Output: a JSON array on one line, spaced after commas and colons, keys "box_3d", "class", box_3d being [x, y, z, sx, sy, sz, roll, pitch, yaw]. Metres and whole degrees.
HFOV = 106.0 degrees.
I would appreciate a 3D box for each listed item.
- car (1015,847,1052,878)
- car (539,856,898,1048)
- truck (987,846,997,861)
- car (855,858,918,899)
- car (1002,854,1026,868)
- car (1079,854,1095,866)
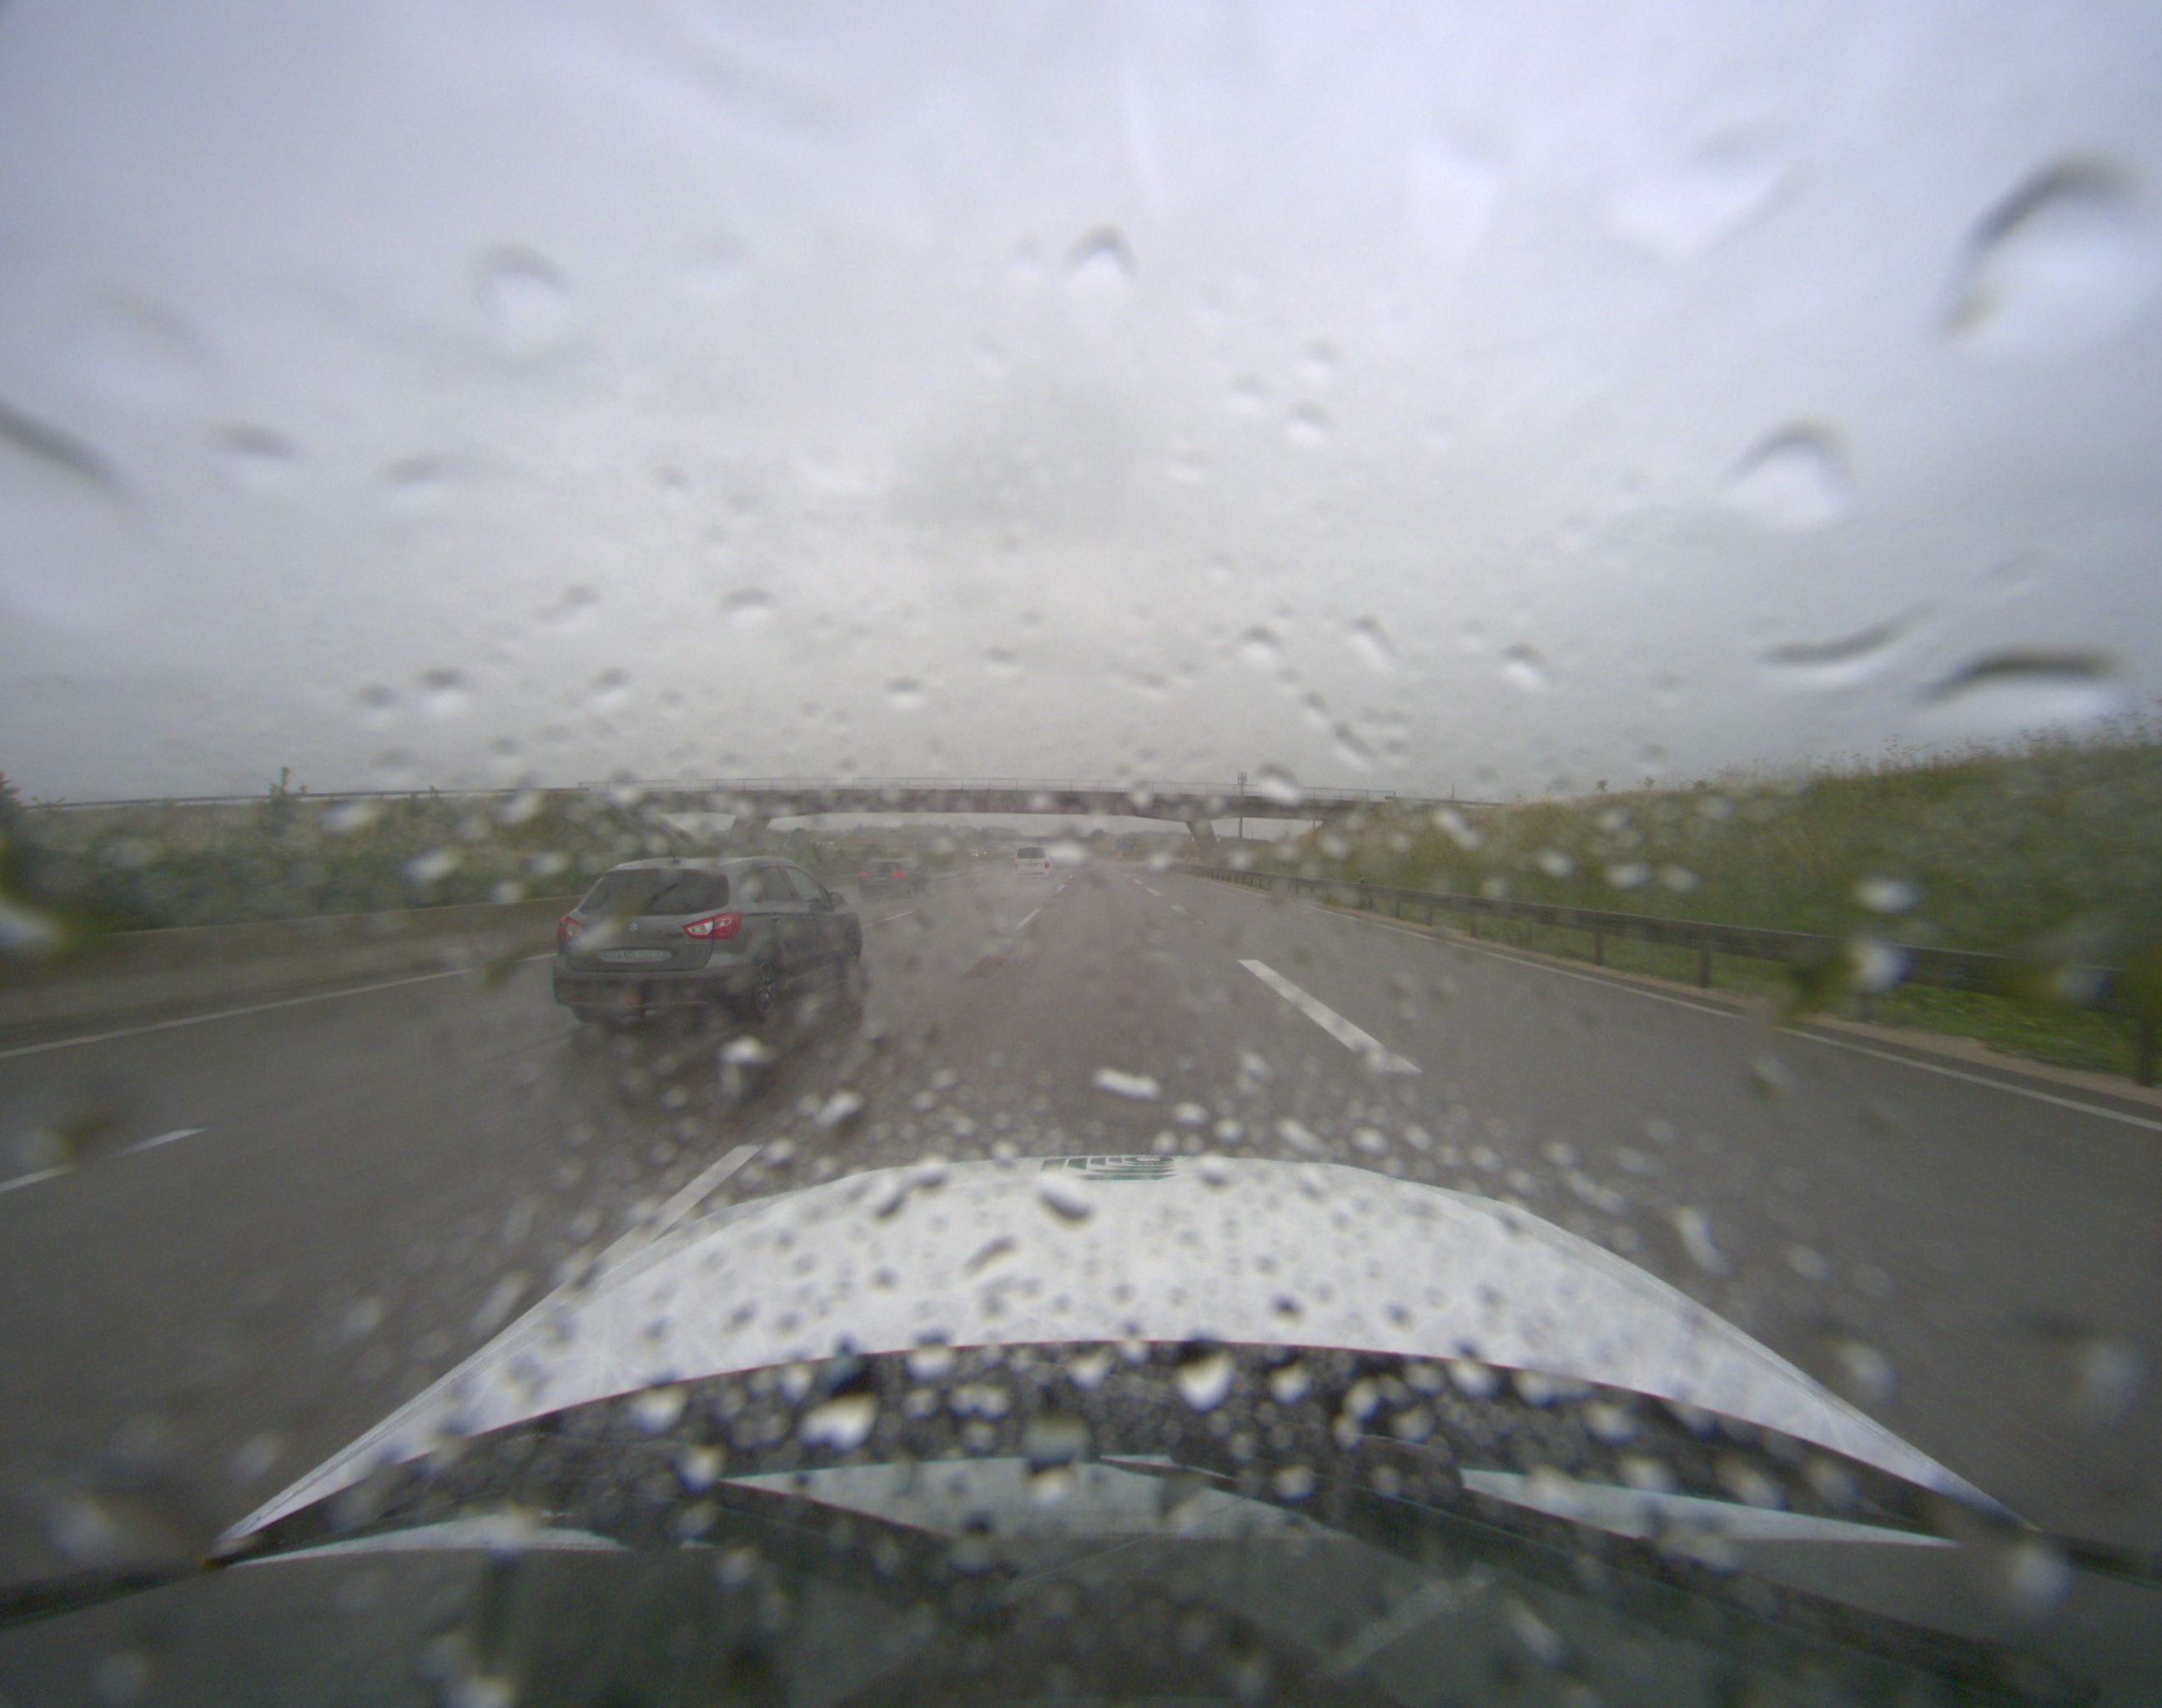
[{"box_3d": [-2.479, 0.439, 43.266, 1.892, 1.585, 3.996, 0, 0, -2], "class": "car"}, {"box_3d": [-3.510, 0.808, 9.065, 1.840, 1.513, 4.756, -1, 0, 0], "class": "car"}, {"box_3d": [-24.502, -0.201, 224.852, 2.207, 3.983, 5.182, -1, 0, -1], "class": "truck"}, {"box_3d": [-6.957, 0.834, 29.501, 1.610, 1.354, 3.994, 0, 0, -4], "class": "car"}, {"box_3d": [-6.018, 0.645, 73.470, 1.460, 1.257, 3.346, -1, 0, 7], "class": "car"}, {"box_3d": [0.619, 0.638, 82.925, 1.462, 1.208, 2.992, -1, 0, 2], "class": "car"}]
